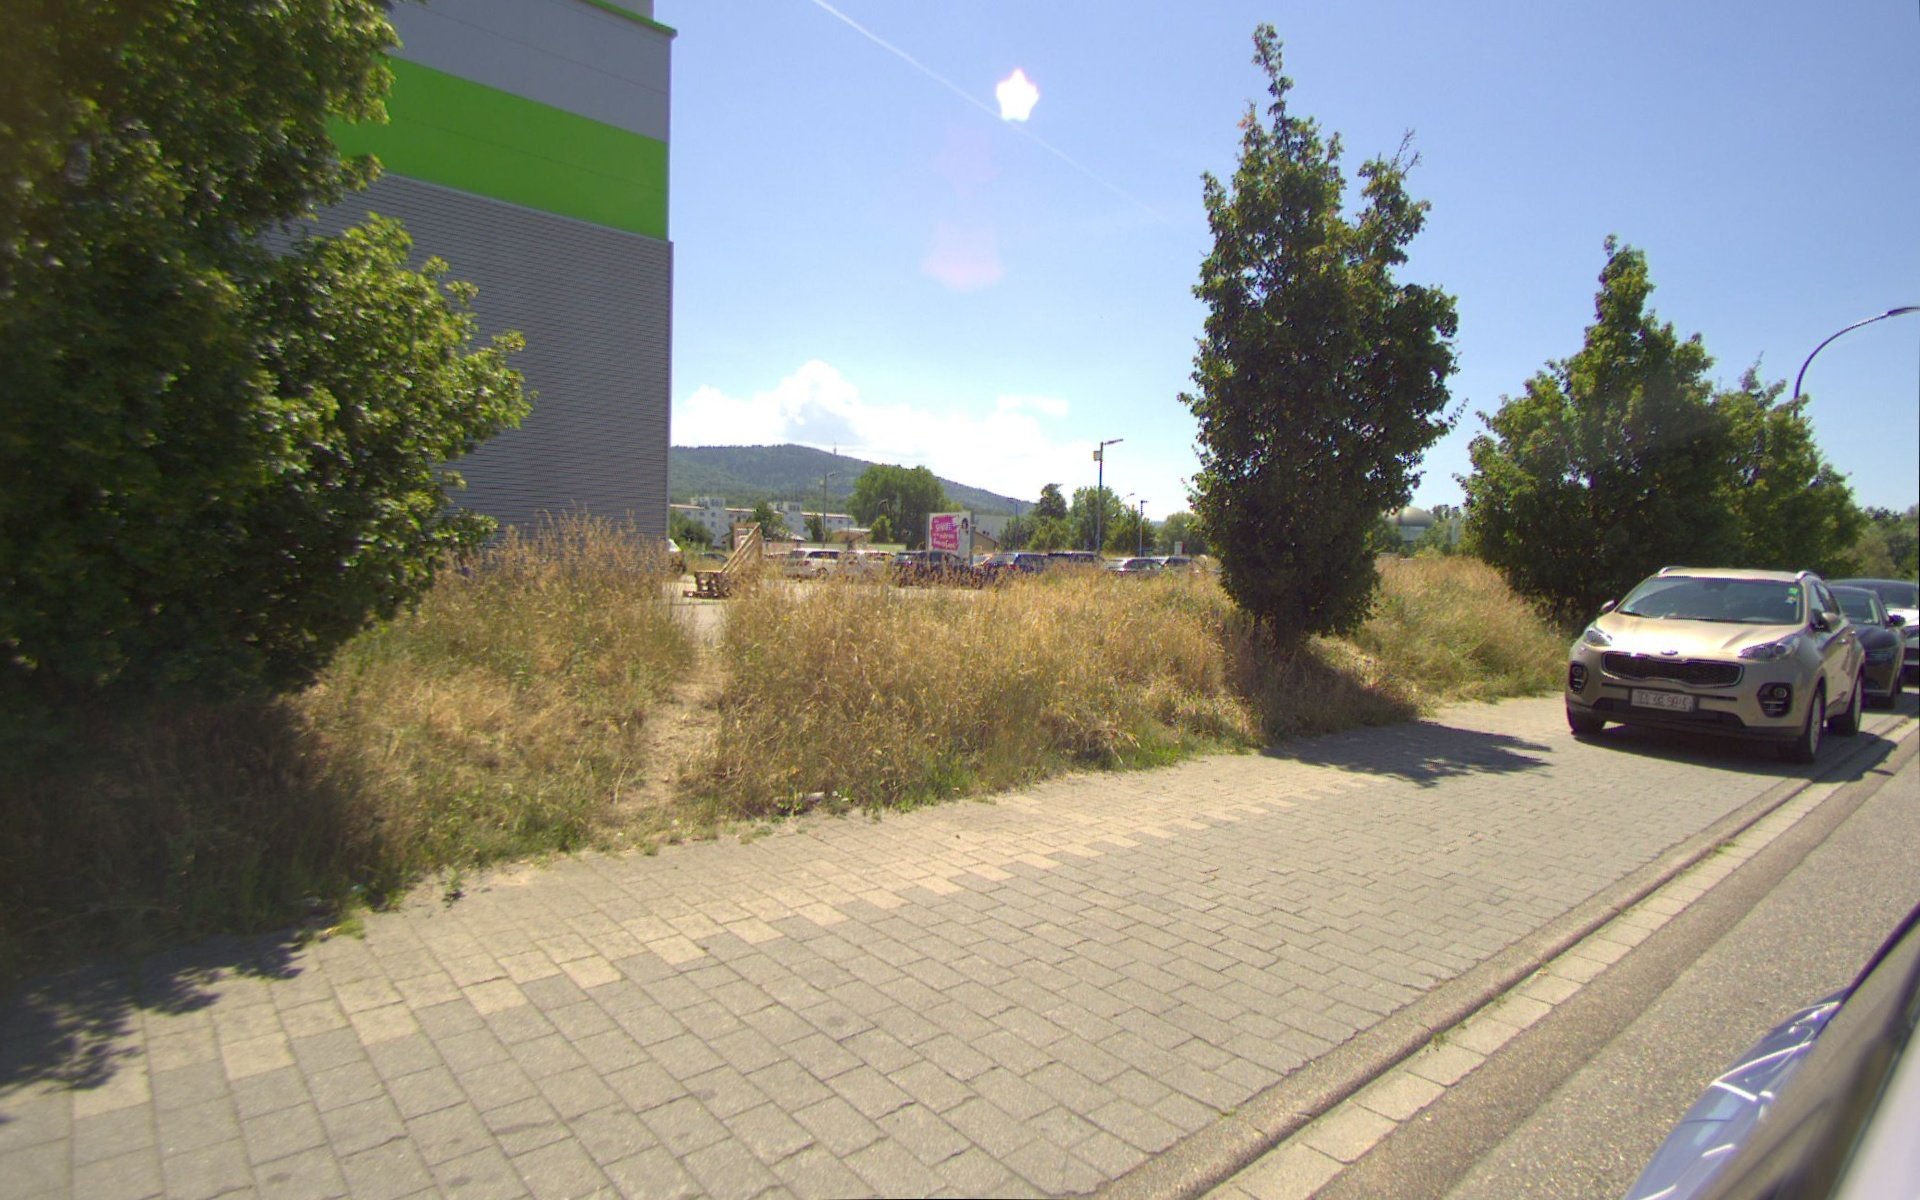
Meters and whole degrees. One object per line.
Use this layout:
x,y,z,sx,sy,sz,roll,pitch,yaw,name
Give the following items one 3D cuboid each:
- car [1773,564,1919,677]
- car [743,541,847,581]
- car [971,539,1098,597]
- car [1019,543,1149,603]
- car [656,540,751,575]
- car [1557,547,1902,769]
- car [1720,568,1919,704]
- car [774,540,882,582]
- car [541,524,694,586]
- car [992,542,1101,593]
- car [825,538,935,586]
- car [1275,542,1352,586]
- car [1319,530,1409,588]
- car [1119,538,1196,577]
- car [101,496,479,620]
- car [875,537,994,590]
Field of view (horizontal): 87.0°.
16.575,0.306,18.254,4.702,1.719,2.148,0,4,-42,car
-7.613,-1.802,46.833,4.324,1.601,1.997,2,2,-42,car
2.694,-1.124,36.044,4.324,1.808,1.997,2,2,-42,car
4.268,-0.891,34.540,4.324,1.808,1.997,2,2,-42,car
-13.336,-2.193,52.806,4.324,1.601,1.997,2,2,-42,car
7.662,0.398,9.913,4.381,1.655,1.808,0,4,-42,car
12.498,0.393,14.484,1.906,1.547,4.555,5,4,45,car
-5.822,-1.698,44.799,4.324,1.601,1.997,2,2,-42,car
-11.295,-1.465,33.493,4.324,1.808,1.997,2,2,-42,car
3.592,-1.316,41.800,4.324,1.873,1.997,2,2,-42,car
-3.416,-1.620,43.465,4.324,1.808,1.997,2,2,-42,car
18.295,-1.865,52.259,4.328,2.171,1.950,-2,4,-43,car
20.175,-2.040,50.500,4.664,2.776,2.000,-1,3,-37,car
12.177,-2.602,62.319,4.664,2.270,2.000,-1,3,-37,car
-9.551,-0.593,14.612,4.325,1.517,1.997,-1,3,-42,car
-0.952,-1.391,39.369,4.324,1.808,1.997,2,2,-42,car
